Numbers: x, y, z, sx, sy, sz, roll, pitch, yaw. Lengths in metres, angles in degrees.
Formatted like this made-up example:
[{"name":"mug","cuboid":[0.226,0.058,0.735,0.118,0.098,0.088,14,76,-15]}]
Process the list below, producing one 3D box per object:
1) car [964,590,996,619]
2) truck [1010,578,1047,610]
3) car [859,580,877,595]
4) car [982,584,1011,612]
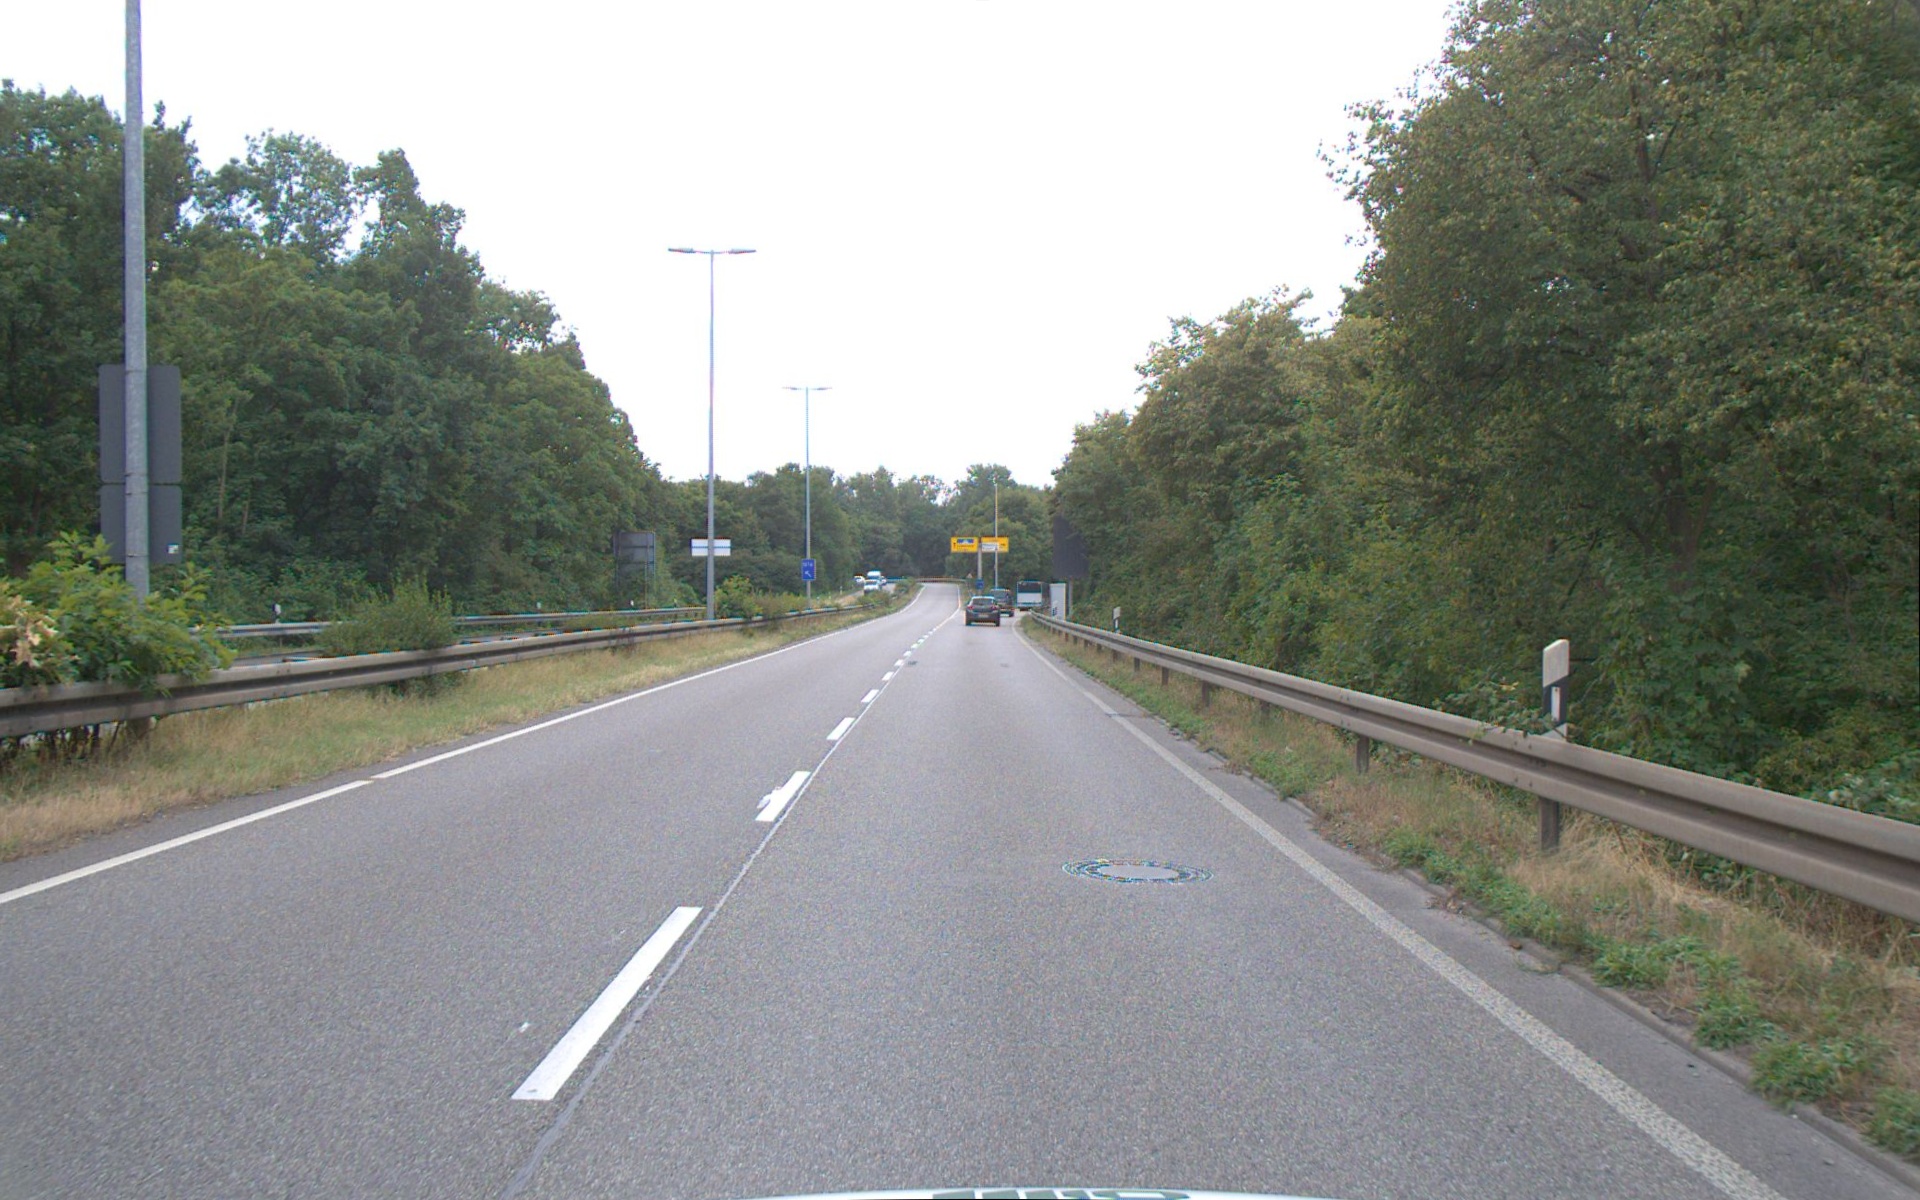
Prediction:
[{"name":"car","cuboid":[1.029,0.258,84.843,1.592,1.402,4.000,0,-1,1]},{"name":"truck","cuboid":[6.734,-0.518,160.518,2.917,2.935,7.996,0,-1,7]},{"name":"car","cuboid":[-11.443,-1.575,206.601,1.952,1.879,4.001,0,1,1]},{"name":"car","cuboid":[2.712,-0.133,122.620,2.103,2.049,4.000,0,-1,1]}]
